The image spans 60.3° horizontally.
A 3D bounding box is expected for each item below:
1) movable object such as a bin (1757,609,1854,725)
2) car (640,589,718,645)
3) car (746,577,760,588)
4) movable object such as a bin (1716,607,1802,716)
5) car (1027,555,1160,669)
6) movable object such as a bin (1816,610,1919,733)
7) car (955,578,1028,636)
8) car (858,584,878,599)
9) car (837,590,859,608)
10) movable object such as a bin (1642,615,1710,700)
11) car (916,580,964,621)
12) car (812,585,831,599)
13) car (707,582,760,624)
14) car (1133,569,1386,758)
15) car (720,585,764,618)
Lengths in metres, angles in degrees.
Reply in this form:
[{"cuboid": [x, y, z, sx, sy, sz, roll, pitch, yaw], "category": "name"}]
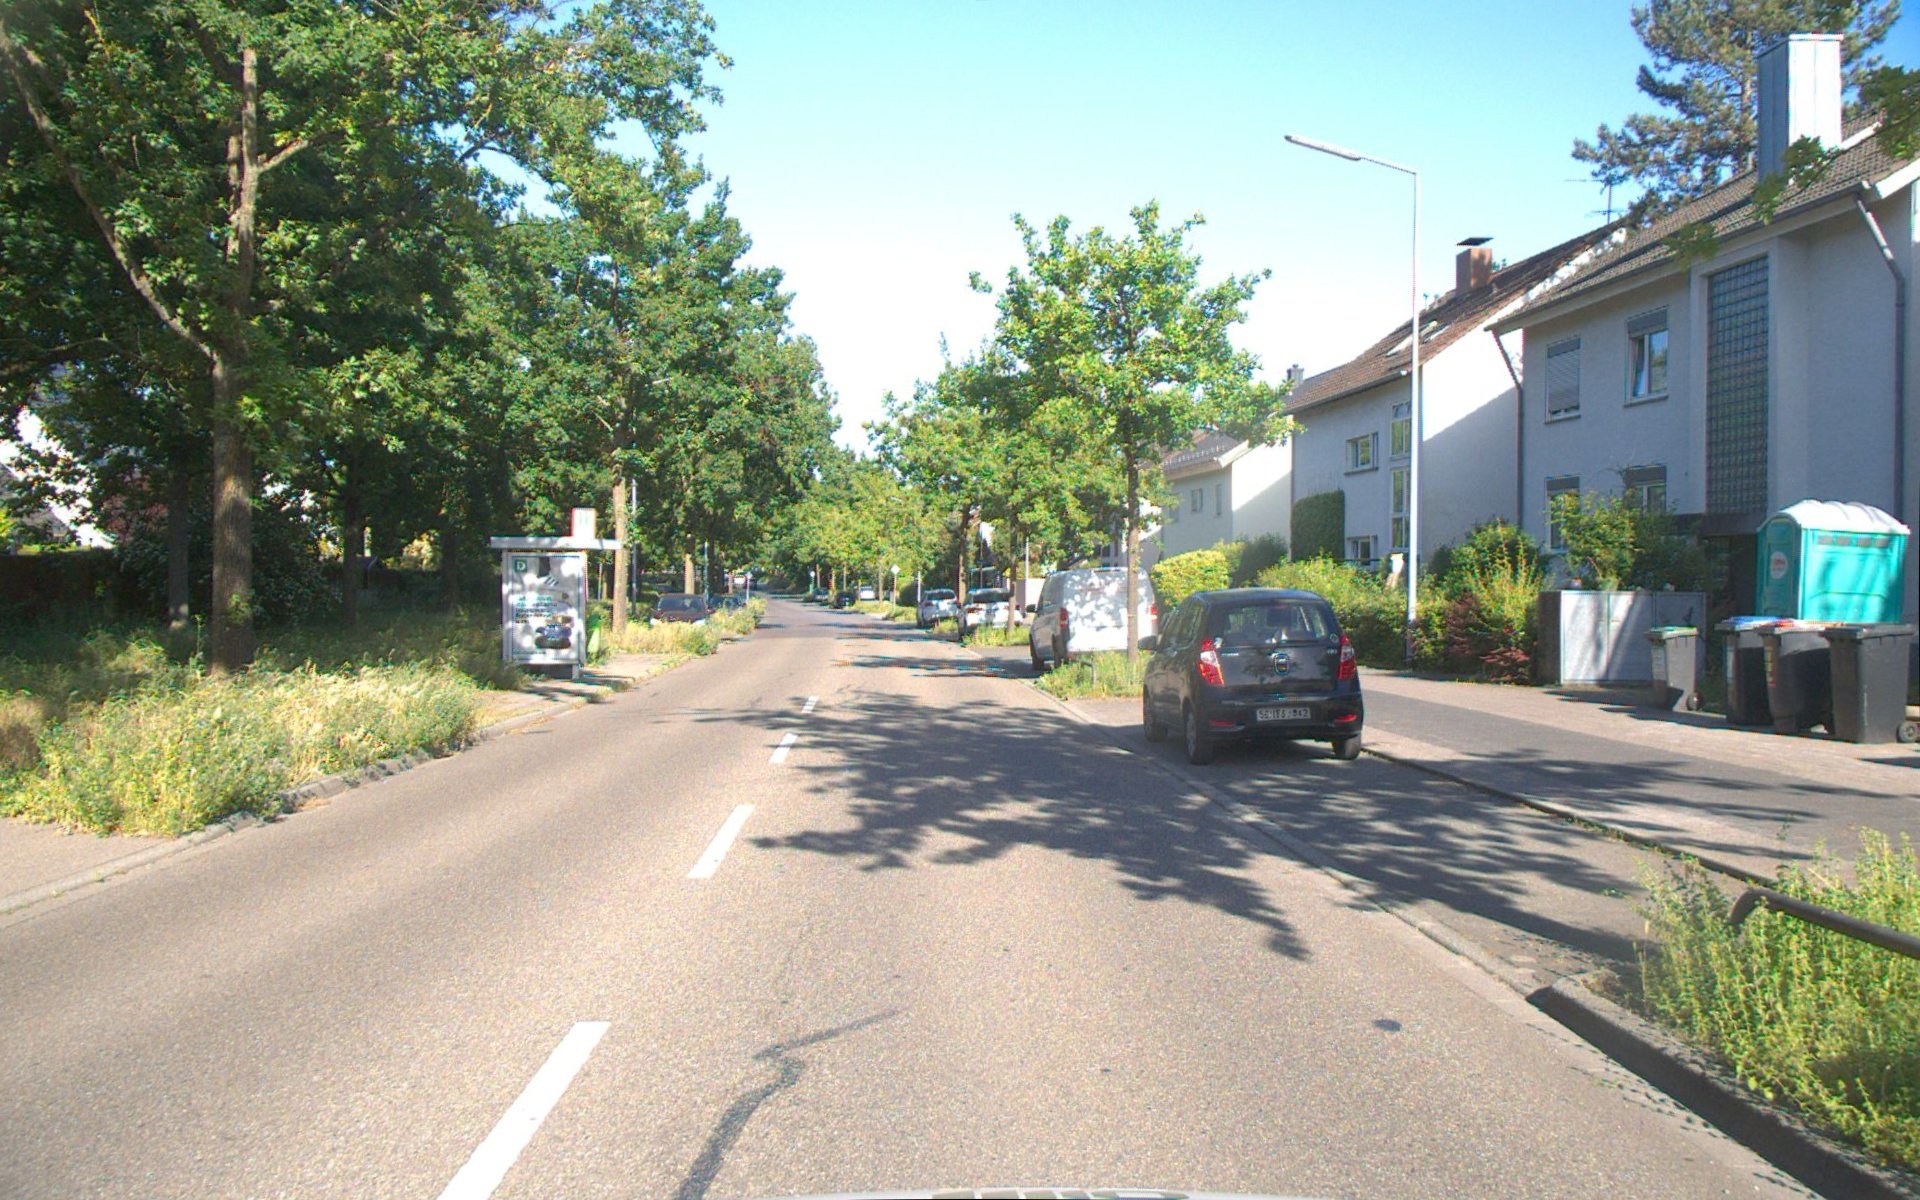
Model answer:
[{"cuboid": [8.140, 0.637, 15.942, 0.591, 1.088, 0.646, 0, 0, -3], "category": "movable object such as a bin"}, {"cuboid": [-7.795, 0.439, 46.183, 1.898, 1.505, 3.995, 0, 0, -6], "category": "car"}, {"cuboid": [-28.946, -2.403, 231.319, 1.896, 1.479, 3.995, 0, 0, -6], "category": "car"}, {"cuboid": [8.163, 0.620, 16.917, 0.591, 1.088, 0.567, 0, 0, -3], "category": "movable object such as a bin"}, {"cuboid": [2.453, 0.206, 31.503, 1.799, 2.005, 4.754, 0, 0, -5], "category": "car"}, {"cuboid": [8.282, 0.642, 15.099, 0.591, 1.088, 0.646, 0, 0, -3], "category": "movable object such as a bin"}, {"cuboid": [0.942, 0.209, 51.623, 1.898, 1.734, 3.996, 0, 0, -5], "category": "car"}, {"cuboid": [-9.403, -0.851, 168.818, 1.896, 1.479, 3.995, 0, 0, -6], "category": "car"}, {"cuboid": [-9.659, -0.075, 142.664, 1.895, 1.569, 3.996, 0, 0, -5], "category": "car"}, {"cuboid": [8.178, 0.651, 18.906, 0.519, 0.948, 0.549, 0, 0, -3], "category": "movable object such as a bin"}, {"cuboid": [-0.931, 0.005, 74.101, 1.895, 1.773, 3.996, 0, 0, -5], "category": "car"}, {"cuboid": [-14.330, -0.826, 170.882, 1.896, 1.479, 3.995, 0, 0, -6], "category": "car"}, {"cuboid": [-8.934, 0.095, 65.523, 1.955, 1.584, 3.994, 1, 0, -7], "category": "car"}, {"cuboid": [2.822, 0.542, 16.351, 1.639, 1.606, 3.750, -2, 0, -3], "category": "car"}, {"cuboid": [-10.193, 0.072, 77.463, 1.761, 1.505, 3.517, 0, 0, -4], "category": "car"}]
